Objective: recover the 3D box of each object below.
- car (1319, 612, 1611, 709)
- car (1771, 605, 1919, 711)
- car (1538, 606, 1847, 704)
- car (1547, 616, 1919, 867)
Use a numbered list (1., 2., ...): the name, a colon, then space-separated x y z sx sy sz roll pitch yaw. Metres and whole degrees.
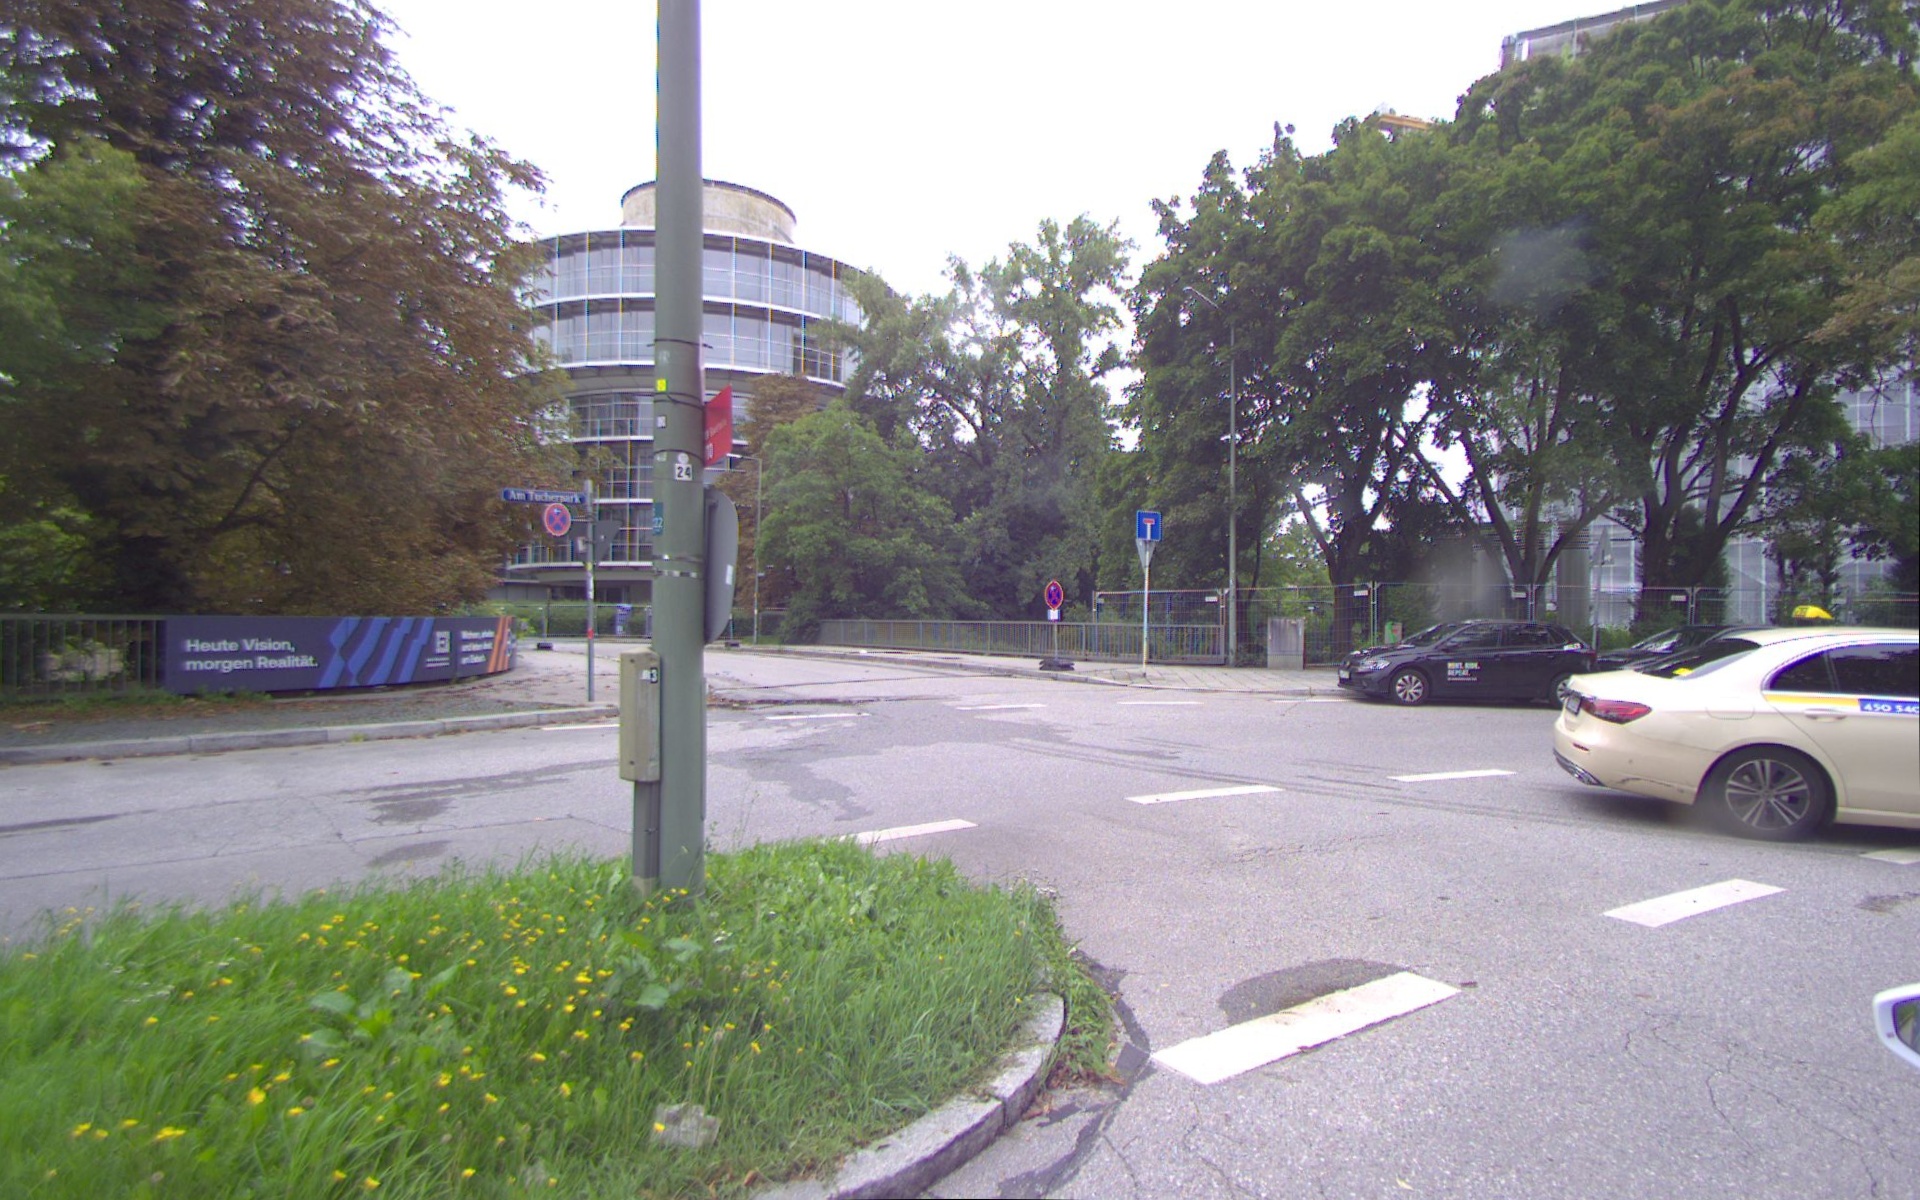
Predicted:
1. car: 8.466 0.979 17.143 3.962 1.452 2.000 1 1 1
2. car: 16.937 1.005 17.554 3.921 1.728 2.000 1 -1 1
3. car: 12.592 0.922 17.484 3.921 1.561 2.000 1 -1 1
4. car: 6.961 0.931 7.022 4.762 1.566 1.892 0 -1 25
